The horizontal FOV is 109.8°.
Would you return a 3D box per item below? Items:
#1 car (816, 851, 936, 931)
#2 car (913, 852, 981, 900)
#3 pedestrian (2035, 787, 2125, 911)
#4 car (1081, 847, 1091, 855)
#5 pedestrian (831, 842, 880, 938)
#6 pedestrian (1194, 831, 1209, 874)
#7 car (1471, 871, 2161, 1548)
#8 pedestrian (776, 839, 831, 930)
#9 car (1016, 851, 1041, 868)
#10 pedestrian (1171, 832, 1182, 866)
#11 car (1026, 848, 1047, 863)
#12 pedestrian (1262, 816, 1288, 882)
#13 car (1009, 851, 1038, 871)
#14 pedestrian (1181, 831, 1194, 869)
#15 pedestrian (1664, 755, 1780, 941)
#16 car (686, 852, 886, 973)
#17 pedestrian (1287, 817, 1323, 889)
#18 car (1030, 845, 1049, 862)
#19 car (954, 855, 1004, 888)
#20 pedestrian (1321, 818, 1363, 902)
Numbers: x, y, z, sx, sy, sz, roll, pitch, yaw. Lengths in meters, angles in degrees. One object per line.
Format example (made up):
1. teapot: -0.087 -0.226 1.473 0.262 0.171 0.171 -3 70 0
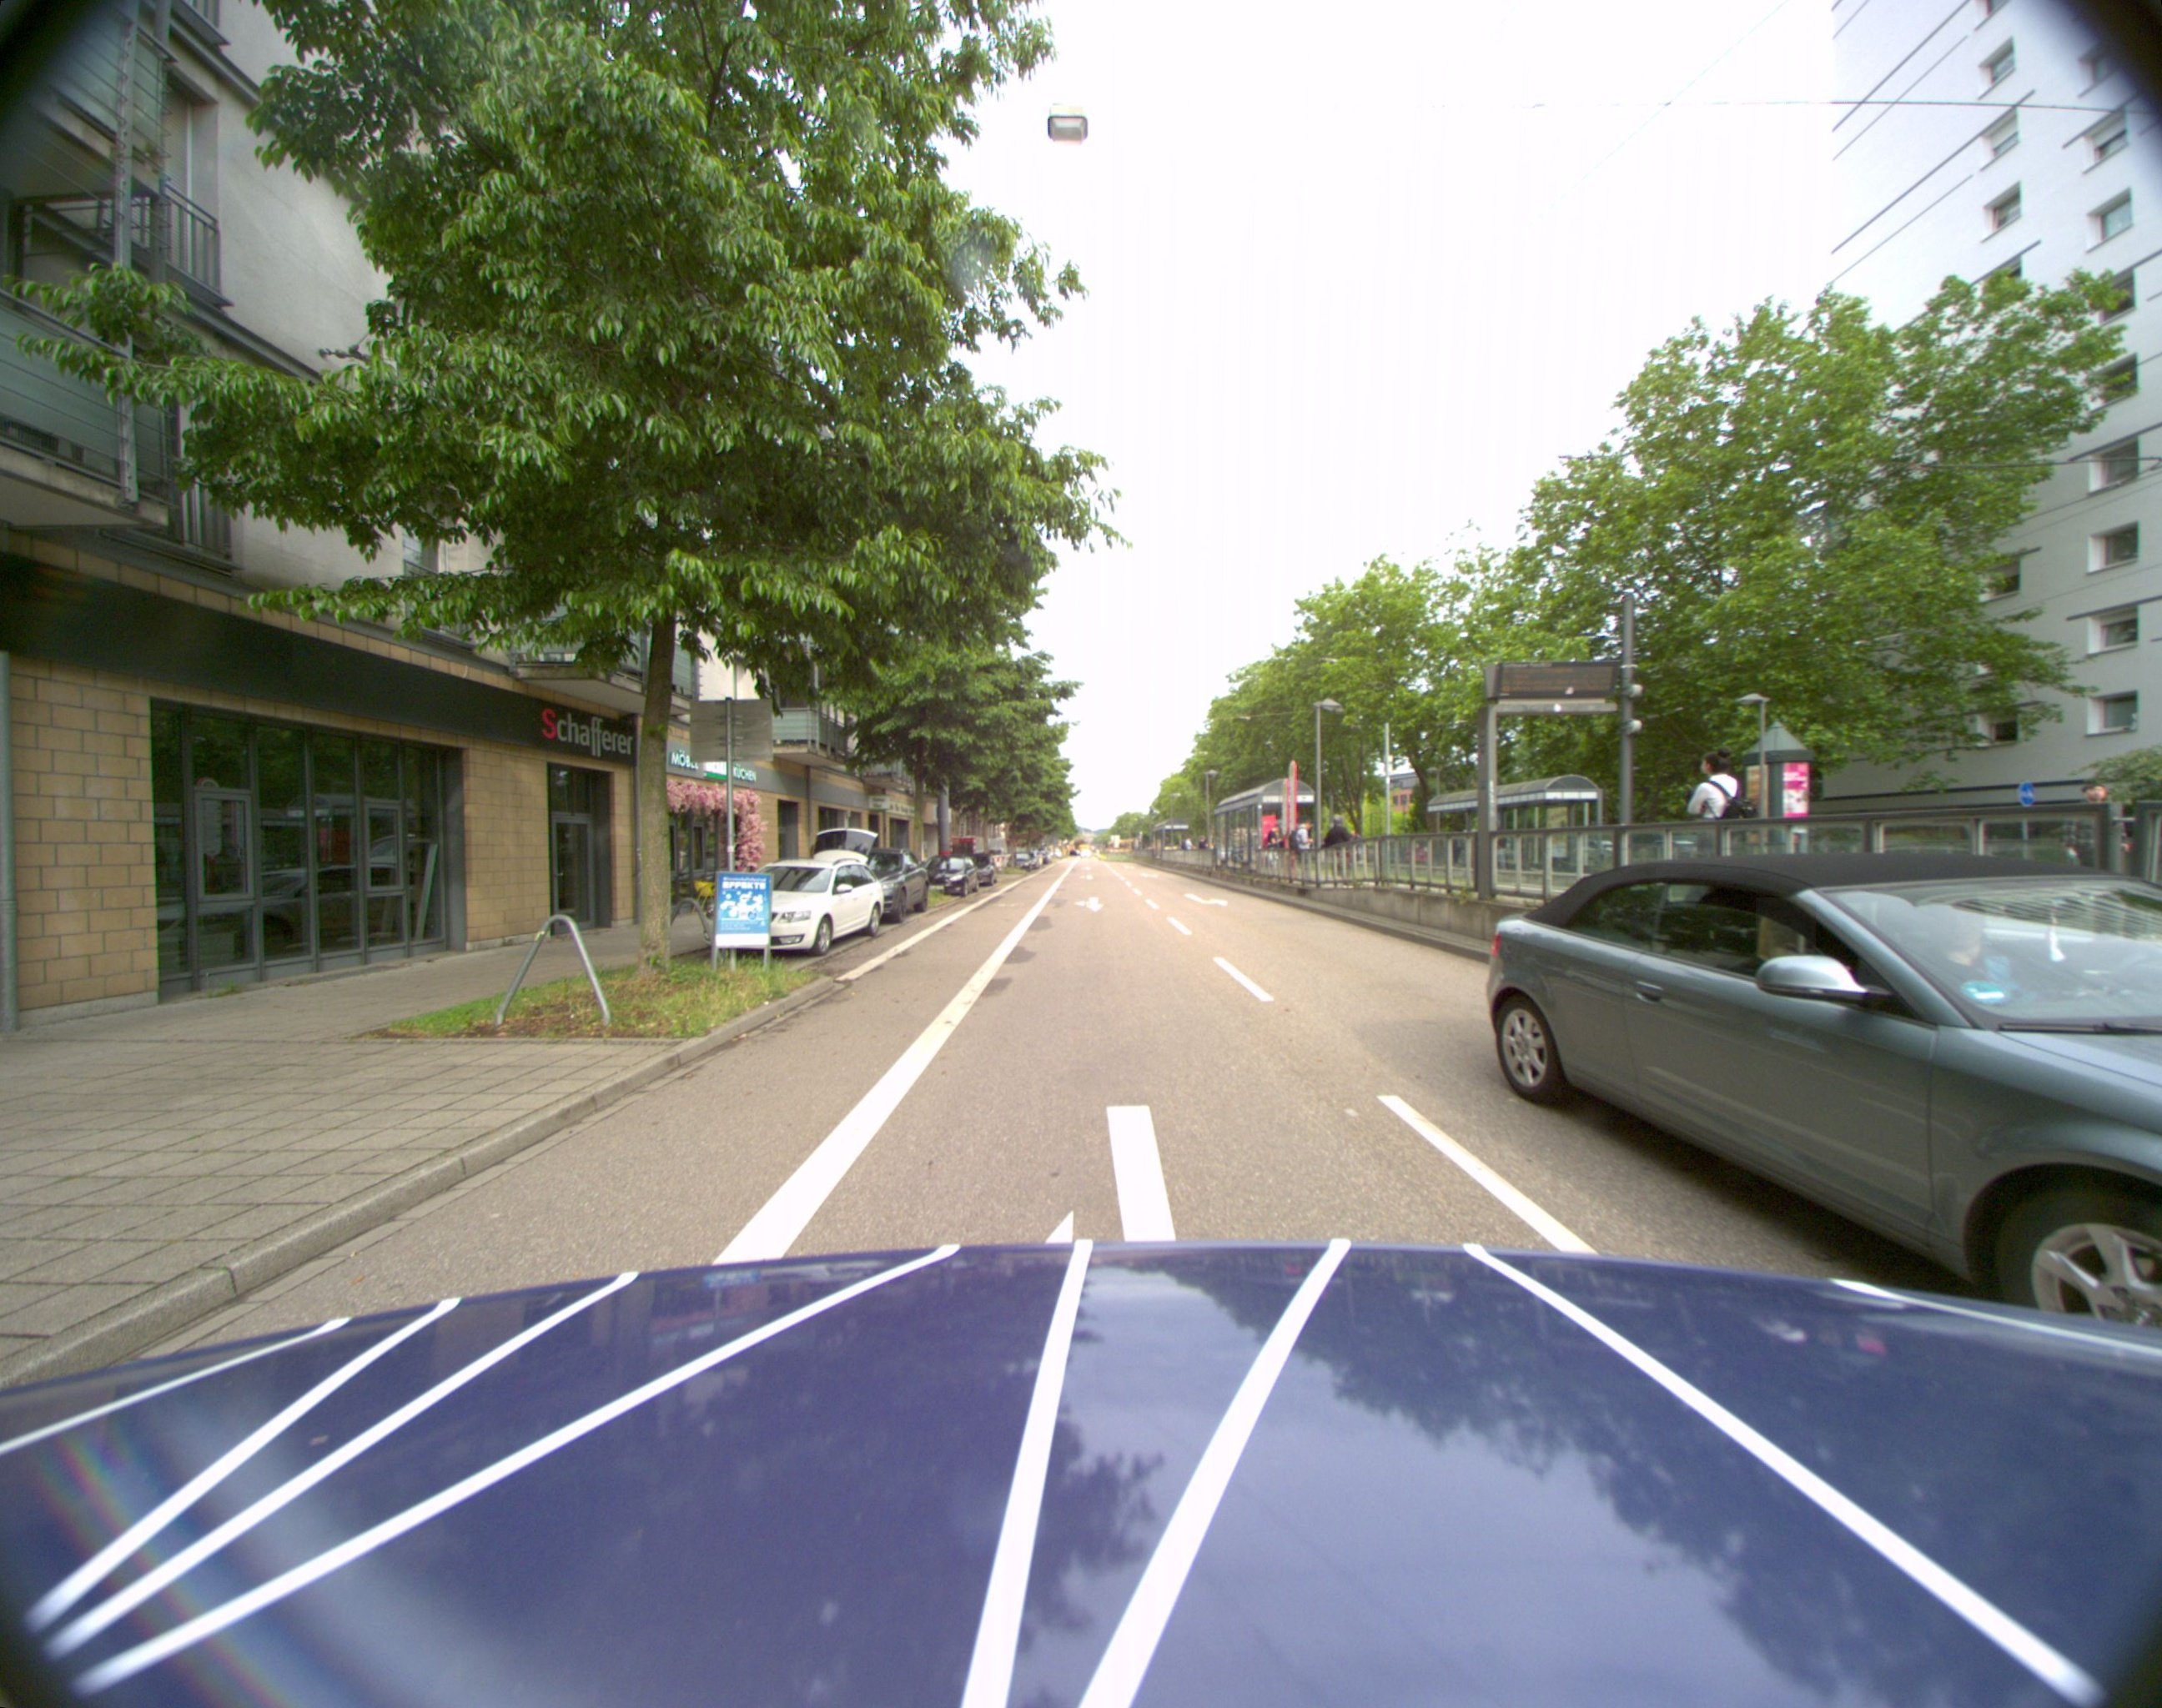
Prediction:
1. car: -4.709 0.768 18.048 1.730 1.652 3.942 1 1 1
2. car: -4.681 0.709 27.113 1.684 1.536 3.942 1 1 1
3. pedestrian: 14.892 -0.075 11.340 0.622 1.779 0.534 -2 1 1
4. car: 1.055 -0.580 145.041 1.865 1.339 3.815 1 1 1
5. pedestrian: -4.632 0.728 15.633 0.652 1.922 0.644 -2 1 16
6. pedestrian: 5.810 -0.069 36.681 0.585 2.038 0.821 -2 1 4
7. car: 3.251 0.844 2.739 1.637 1.367 4.013 -2 1 1
8. pedestrian: -5.678 0.602 15.578 0.745 1.795 0.839 -2 1 0
9. car: -4.275 0.428 62.331 1.730 1.375 3.815 1 1 1
10. pedestrian: 5.837 -0.286 46.421 0.585 2.038 0.821 -2 1 4
11. car: -4.182 0.154 72.604 1.730 1.375 3.815 1 1 1
12. pedestrian: 6.204 -0.165 24.302 0.585 2.038 0.821 -2 1 4
13. car: -4.207 0.498 55.966 1.730 1.375 3.815 1 1 1
14. pedestrian: 5.821 -0.230 41.549 0.585 2.038 0.821 -2 1 4
15. pedestrian: 6.319 -0.057 7.511 0.662 1.741 0.534 -2 1 1
16. car: -4.742 0.828 12.903 1.730 1.652 4.103 1 1 1
17. pedestrian: 5.747 -0.035 19.508 0.683 1.781 0.821 -2 1 4
18. car: -4.245 -0.053 78.417 1.730 1.675 3.815 1 1 1
19. car: -4.604 0.752 34.766 1.730 1.375 3.815 1 1 1
20. pedestrian: 5.719 0.127 16.649 0.661 1.781 0.535 -1 2 40
